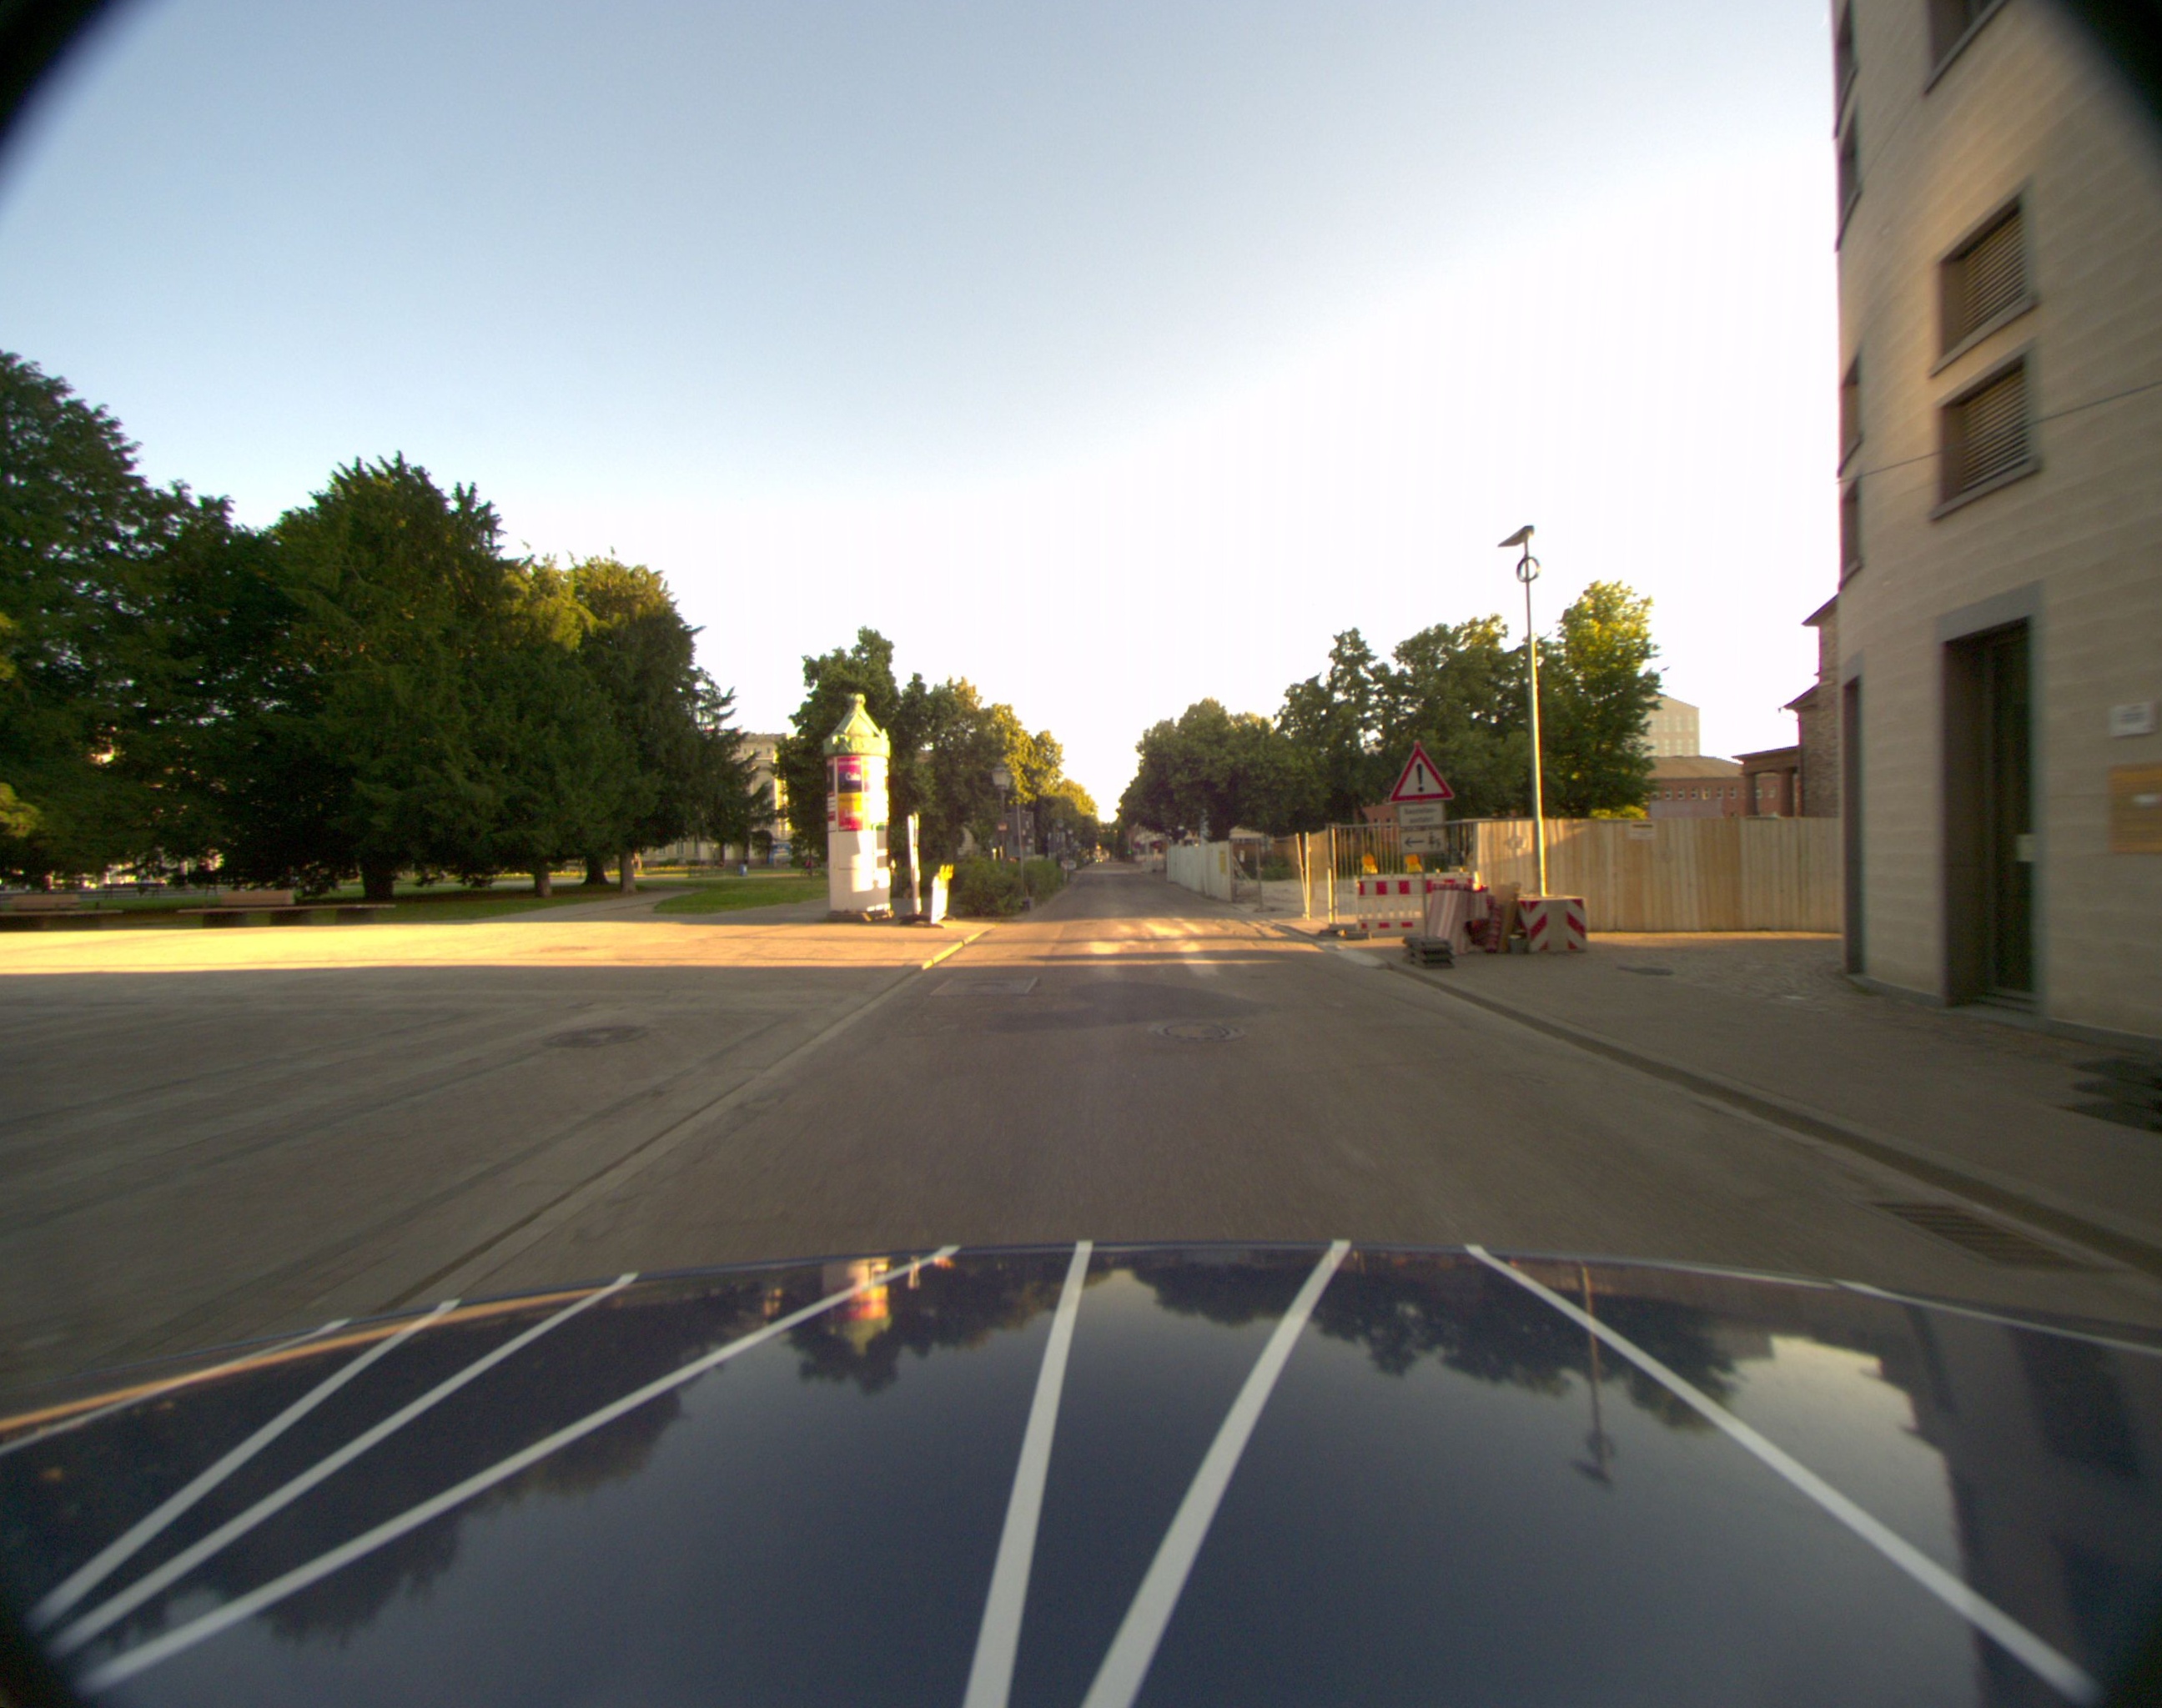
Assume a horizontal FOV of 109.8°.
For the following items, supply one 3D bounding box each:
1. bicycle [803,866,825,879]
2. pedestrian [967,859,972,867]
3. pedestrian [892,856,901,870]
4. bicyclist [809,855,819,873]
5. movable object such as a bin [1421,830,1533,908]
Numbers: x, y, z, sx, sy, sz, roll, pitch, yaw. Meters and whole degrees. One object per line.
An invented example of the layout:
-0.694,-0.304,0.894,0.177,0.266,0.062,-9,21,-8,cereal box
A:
-23.674,1.628,67.318,1.778,1.170,0.564,-1,1,-33,bicycle
-16.326,1.267,111.422,0.605,1.195,0.394,-1,1,-39,pedestrian
-21.660,1.099,89.113,0.858,1.616,0.757,-1,1,1,pedestrian
-23.629,0.876,67.344,0.678,1.622,0.657,-1,1,-33,bicyclist
13.884,0.490,26.777,2.161,2.588,2.743,-1,1,-21,movable object such as a bin
